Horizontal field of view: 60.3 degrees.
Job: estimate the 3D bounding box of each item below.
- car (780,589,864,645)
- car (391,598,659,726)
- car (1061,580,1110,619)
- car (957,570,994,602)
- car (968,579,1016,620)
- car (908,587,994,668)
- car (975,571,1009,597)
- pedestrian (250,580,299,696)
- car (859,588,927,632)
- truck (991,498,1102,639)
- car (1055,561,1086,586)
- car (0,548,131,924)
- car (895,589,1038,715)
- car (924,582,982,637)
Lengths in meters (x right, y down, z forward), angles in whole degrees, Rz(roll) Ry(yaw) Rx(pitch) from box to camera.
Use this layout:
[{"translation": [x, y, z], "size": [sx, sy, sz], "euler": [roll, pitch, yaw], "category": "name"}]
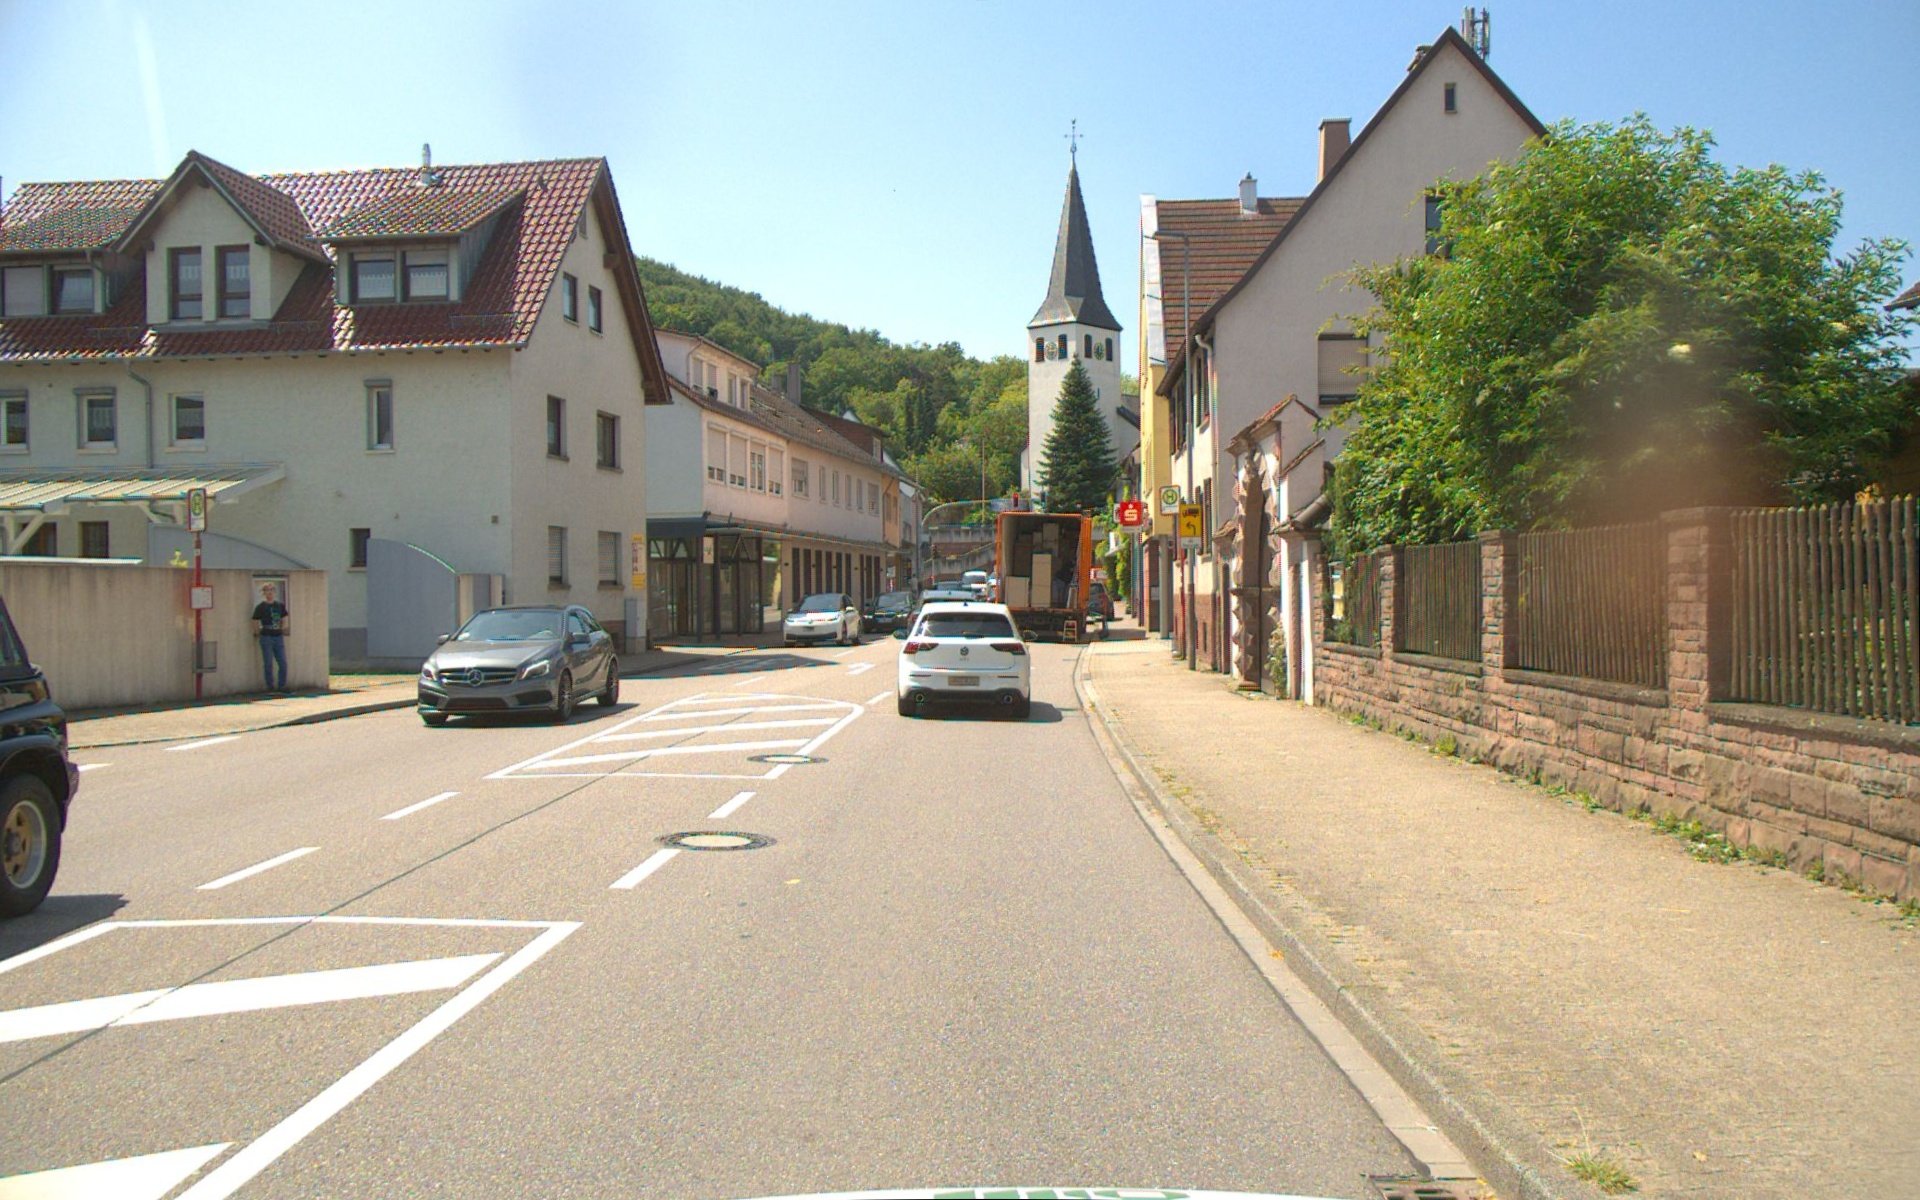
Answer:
[{"translation": [-4.025, 0.488, 48.892], "size": [1.758, 1.534, 4.136], "euler": [-2, 0, 5], "category": "car"}, {"translation": [-5.553, 0.745, 21.698], "size": [1.823, 1.467, 4.221], "euler": [-2, 0, 9], "category": "car"}, {"translation": [5.339, -0.006, 70.889], "size": [1.778, 1.545, 4.000], "euler": [-2, 0, 0], "category": "car"}, {"translation": [0.949, -0.858, 100.662], "size": [1.763, 1.811, 4.708], "euler": [-2, 1, 6], "category": "car"}, {"translation": [1.254, -0.003, 65.943], "size": [1.778, 1.545, 4.000], "euler": [-2, 0, 0], "category": "car"}, {"translation": [-0.179, 0.604, 37.017], "size": [1.778, 1.657, 4.000], "euler": [-2, 0, 0], "category": "car"}, {"translation": [2.200, -1.068, 113.396], "size": [1.951, 1.680, 4.003], "euler": [-2, 0, 6], "category": "car"}, {"translation": [-10.745, 0.590, 25.930], "size": [0.425, 1.795, 0.557], "euler": [-1, 0, 19], "category": "pedestrian"}, {"translation": [-2.463, 0.376, 61.915], "size": [1.755, 1.519, 4.425], "euler": [-2, 0, 8], "category": "car"}, {"translation": [2.914, -0.929, 55.804], "size": [3.297, 4.243, 9.522], "euler": [-2, 0, 3], "category": "truck"}, {"translation": [7.397, -1.750, 111.076], "size": [1.778, 1.545, 4.000], "euler": [-2, 0, 0], "category": "car"}, {"translation": [-5.122, 0.619, 6.827], "size": [1.704, 1.680, 3.666], "euler": [-1, 0, -3], "category": "car"}, {"translation": [0.102, 0.661, 22.565], "size": [1.778, 1.545, 4.000], "euler": [0, 0, 0], "category": "car"}, {"translation": [-0.203, 0.316, 53.839], "size": [1.778, 1.657, 4.000], "euler": [-2, 0, 0], "category": "car"}]
